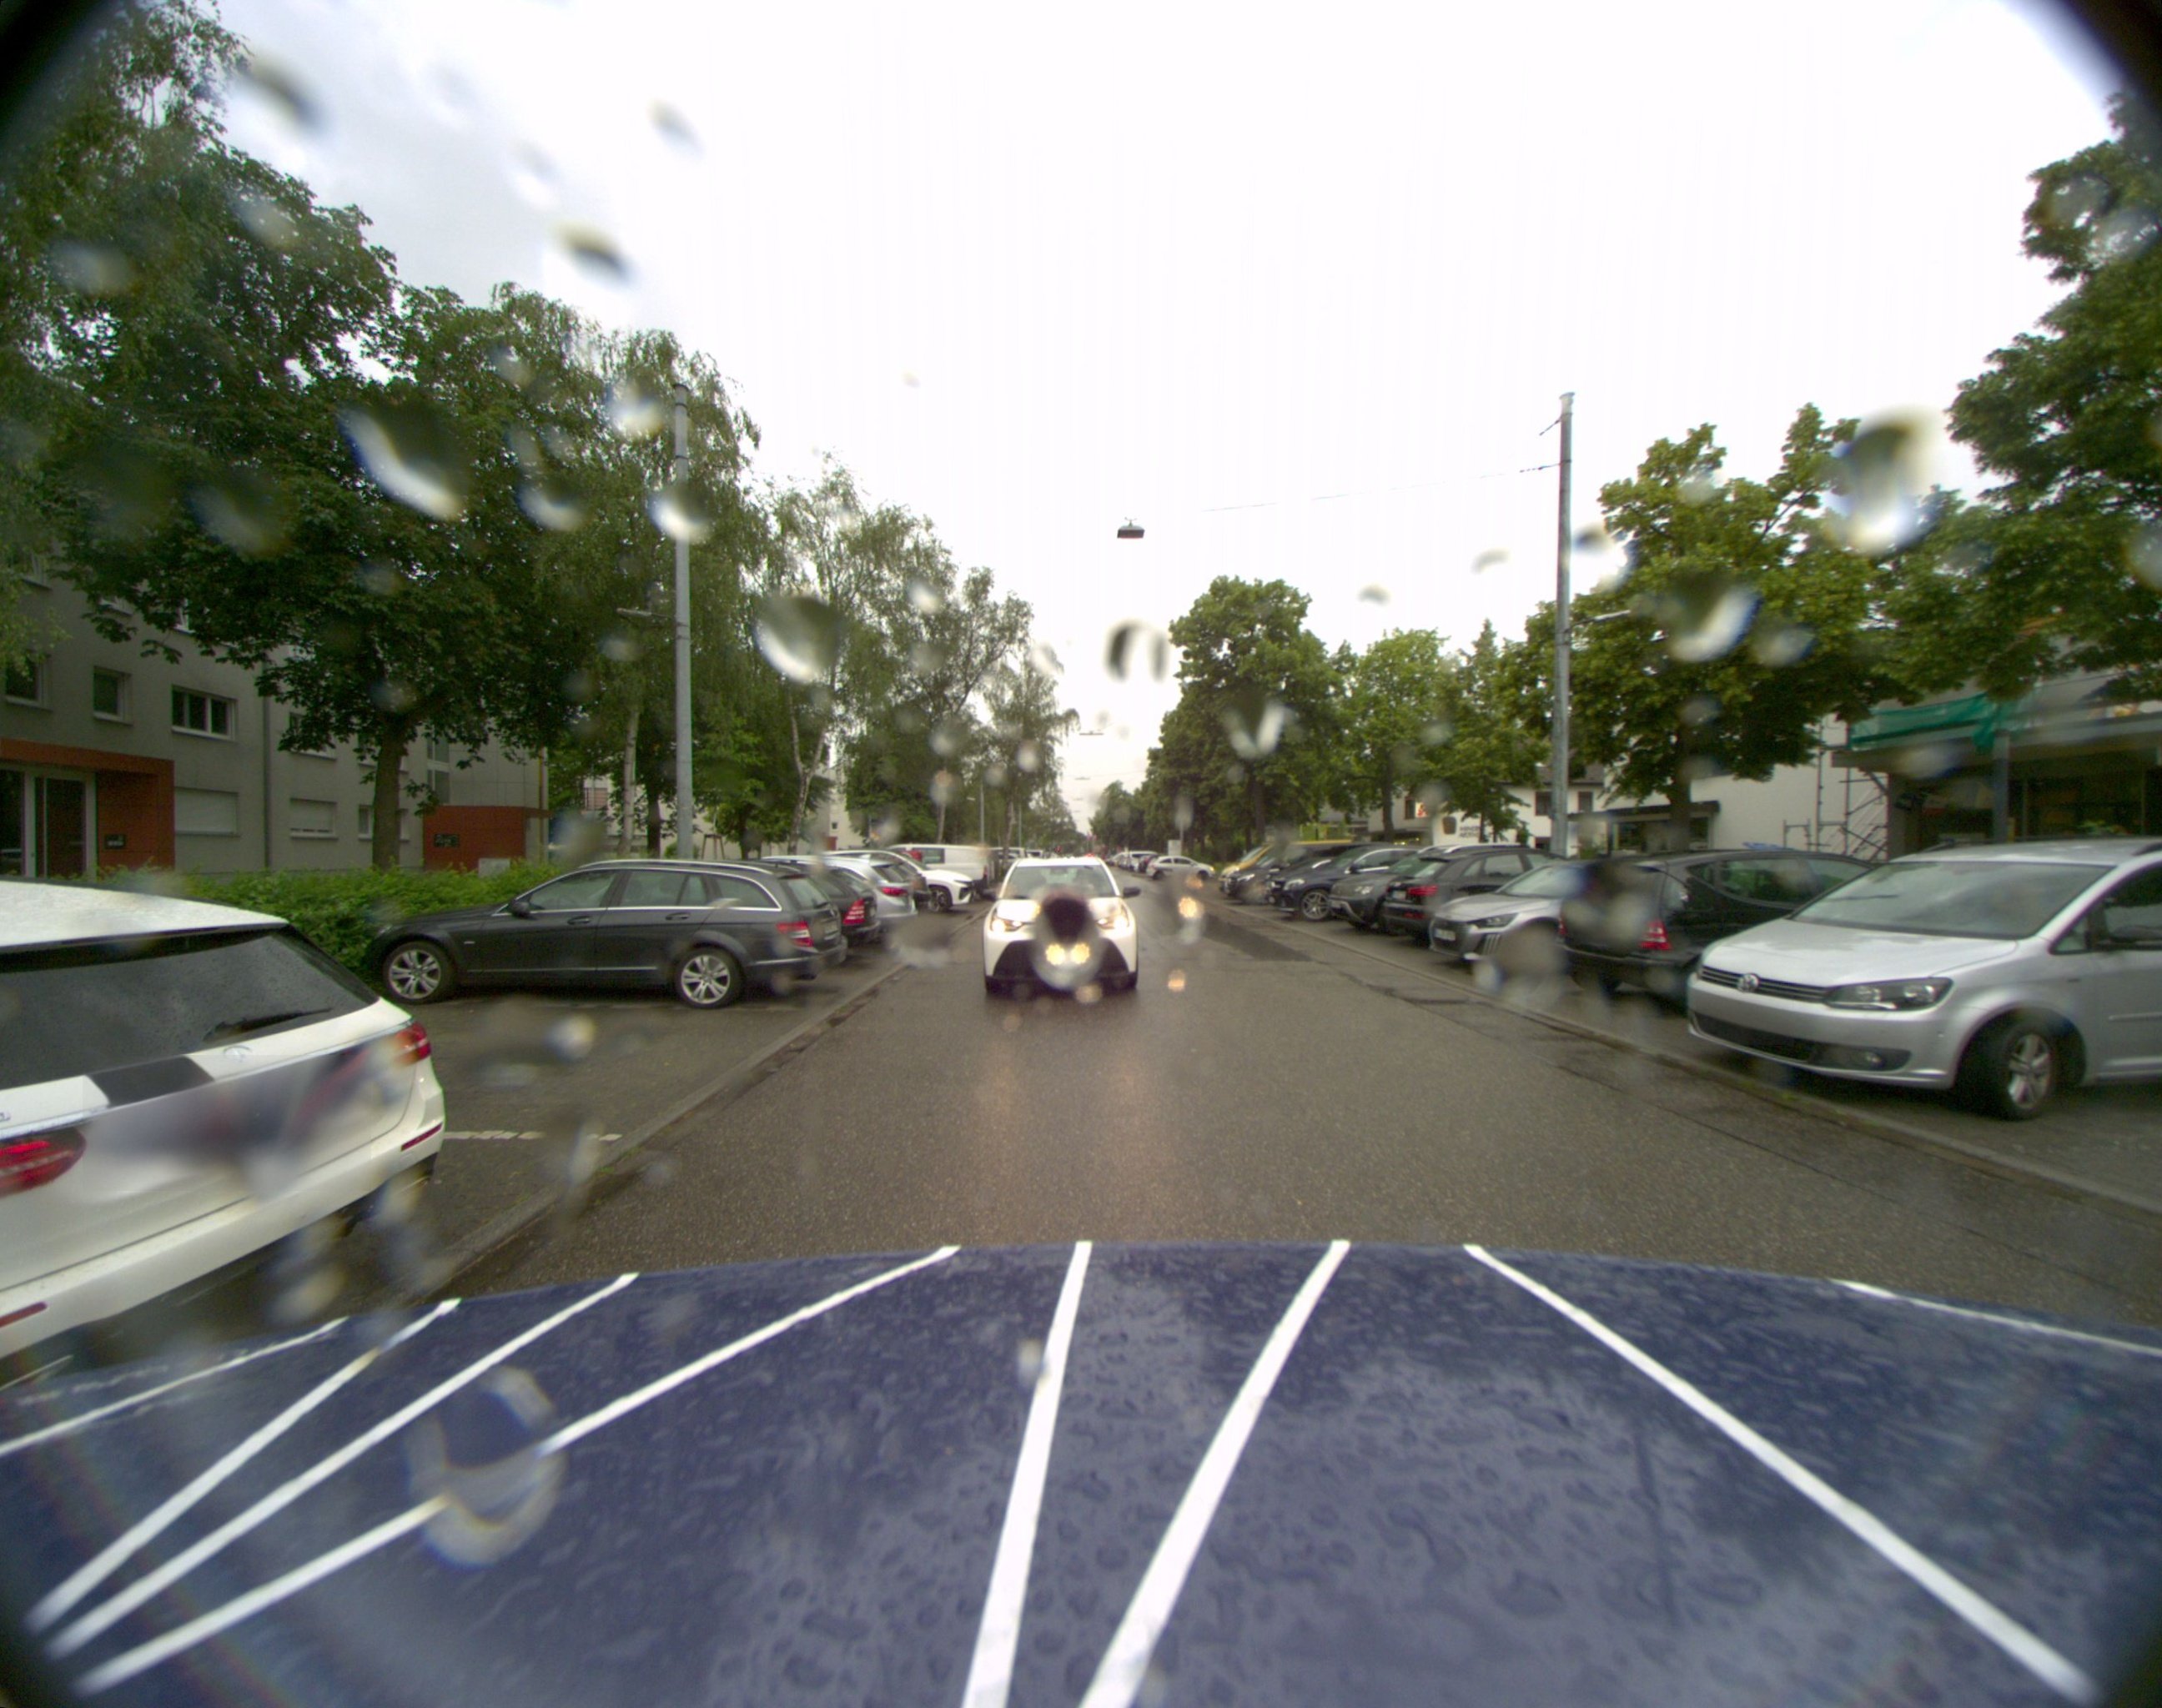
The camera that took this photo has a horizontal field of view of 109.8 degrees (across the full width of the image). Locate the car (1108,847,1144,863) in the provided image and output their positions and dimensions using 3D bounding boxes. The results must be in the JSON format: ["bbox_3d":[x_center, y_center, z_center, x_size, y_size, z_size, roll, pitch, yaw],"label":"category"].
[{"bbox_3d":[5.342,0.108,90.306,3.998,1.675,1.999,-2,1,-3],"label":"car"}]

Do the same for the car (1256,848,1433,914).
[{"bbox_3d":[7.201,0.714,21.047,4.283,1.617,1.715,-2,1,-2],"label":"car"}]

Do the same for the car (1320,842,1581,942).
[{"bbox_3d":[7.091,0.693,14.853,4.283,1.717,1.715,-2,1,-2],"label":"car"}]

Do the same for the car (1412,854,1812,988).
[{"bbox_3d":[7.004,0.823,10.305,4.283,1.523,1.715,-2,1,-2],"label":"car"}]

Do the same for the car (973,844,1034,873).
[{"bbox_3d":[-5.476,0.287,54.091,3.995,1.902,1.902,-2,1,4],"label":"car"}]

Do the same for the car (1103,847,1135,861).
[{"bbox_3d":[4.977,0.009,99.167,3.998,1.675,1.999,-2,1,-3],"label":"car"}]

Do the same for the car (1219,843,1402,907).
[{"bbox_3d":[7.113,0.630,23.835,5.177,1.789,1.715,-2,1,-2],"label":"car"}]

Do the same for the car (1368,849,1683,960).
[{"bbox_3d":[7.261,0.775,12.672,4.283,1.586,1.715,-2,1,-2],"label":"car"}]

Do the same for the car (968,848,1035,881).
[{"bbox_3d":[-5.111,0.658,49.261,3.995,1.902,1.902,-2,1,4],"label":"car"}]

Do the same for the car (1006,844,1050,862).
[{"bbox_3d":[-5.226,-0.116,75.005,3.995,1.670,1.902,-2,1,4],"label":"car"}]

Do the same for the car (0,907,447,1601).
[{"bbox_3d":[-4.756,0.907,2.065,4.623,1.431,1.680,2,1,0],"label":"car"}]

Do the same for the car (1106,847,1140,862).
[{"bbox_3d":[5.225,0.060,94.412,3.998,1.675,1.999,-2,1,-3],"label":"car"}]

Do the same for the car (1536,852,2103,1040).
[{"bbox_3d":[7.262,0.827,7.749,4.283,1.556,1.635,-2,1,-2],"label":"car"}]

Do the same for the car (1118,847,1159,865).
[{"bbox_3d":[5.937,0.211,78.529,3.998,1.675,1.999,-2,1,-3],"label":"car"}]

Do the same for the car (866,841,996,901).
[{"bbox_3d":[-5.094,0.564,26.177,4.182,1.856,1.679,2,1,-6],"label":"car"}]

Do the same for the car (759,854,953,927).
[{"bbox_3d":[-5.189,0.830,17.897,4.049,1.488,1.680,2,1,-3],"label":"car"}]

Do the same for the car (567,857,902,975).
[{"bbox_3d":[-4.812,0.843,11.003,4.049,1.431,1.680,2,1,-3],"label":"car"}]

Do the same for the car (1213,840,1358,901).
[{"bbox_3d":[7.176,0.559,26.929,4.657,1.947,1.715,-2,1,-2],"label":"car"}]

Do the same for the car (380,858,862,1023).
[{"bbox_3d":[-4.613,0.842,8.103,4.049,1.431,1.680,2,1,-3],"label":"car"}]

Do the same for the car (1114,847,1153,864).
[{"bbox_3d":[5.791,0.175,83.749,3.998,1.675,1.999,-2,1,-3],"label":"car"}]

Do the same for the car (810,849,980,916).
[{"bbox_3d":[-5.027,0.746,20.904,4.179,1.609,1.680,2,1,1],"label":"car"}]

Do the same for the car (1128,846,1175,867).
[{"bbox_3d":[6.379,0.233,68.863,3.998,1.675,1.999,-2,1,-3],"label":"car"}]

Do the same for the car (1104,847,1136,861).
[{"bbox_3d":[5.212,-0.001,101.609,3.998,1.675,1.999,-2,1,-3],"label":"car"}]

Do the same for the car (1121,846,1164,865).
[{"bbox_3d":[6.080,0.155,75.845,3.998,1.675,1.999,-2,1,-3],"label":"car"}]

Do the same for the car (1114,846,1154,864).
[{"bbox_3d":[5.646,0.103,81.195,3.998,1.675,1.999,-2,1,-3],"label":"car"}]

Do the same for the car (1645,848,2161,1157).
[{"bbox_3d":[6.611,0.828,5.202,4.283,1.625,1.715,-2,1,-2],"label":"car"}]

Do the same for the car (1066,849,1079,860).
[{"bbox_3d":[-1.482,0.035,127.937,1.998,1.804,3.999,-2,1,1],"label":"car"}]

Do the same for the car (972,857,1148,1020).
[{"bbox_3d":[-0.296,0.868,9.808,1.733,1.519,4.138,-2,1,-3],"label":"car"}]

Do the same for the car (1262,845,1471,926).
[{"bbox_3d":[6.631,0.695,17.933,4.283,1.717,1.715,-2,1,-2],"label":"car"}]

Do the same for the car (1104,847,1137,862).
[{"bbox_3d":[5.034,0.035,96.934,3.998,1.675,1.999,-2,1,-3],"label":"car"}]

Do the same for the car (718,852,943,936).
[{"bbox_3d":[-5.005,0.790,15.607,4.049,1.488,1.680,2,1,-3],"label":"car"}]

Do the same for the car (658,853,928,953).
[{"bbox_3d":[-4.868,0.815,13.277,4.049,1.488,1.680,2,1,-3],"label":"car"}]

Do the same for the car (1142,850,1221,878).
[{"bbox_3d":[5.864,0.577,44.579,4.255,1.446,1.999,-2,1,-2],"label":"car"}]
